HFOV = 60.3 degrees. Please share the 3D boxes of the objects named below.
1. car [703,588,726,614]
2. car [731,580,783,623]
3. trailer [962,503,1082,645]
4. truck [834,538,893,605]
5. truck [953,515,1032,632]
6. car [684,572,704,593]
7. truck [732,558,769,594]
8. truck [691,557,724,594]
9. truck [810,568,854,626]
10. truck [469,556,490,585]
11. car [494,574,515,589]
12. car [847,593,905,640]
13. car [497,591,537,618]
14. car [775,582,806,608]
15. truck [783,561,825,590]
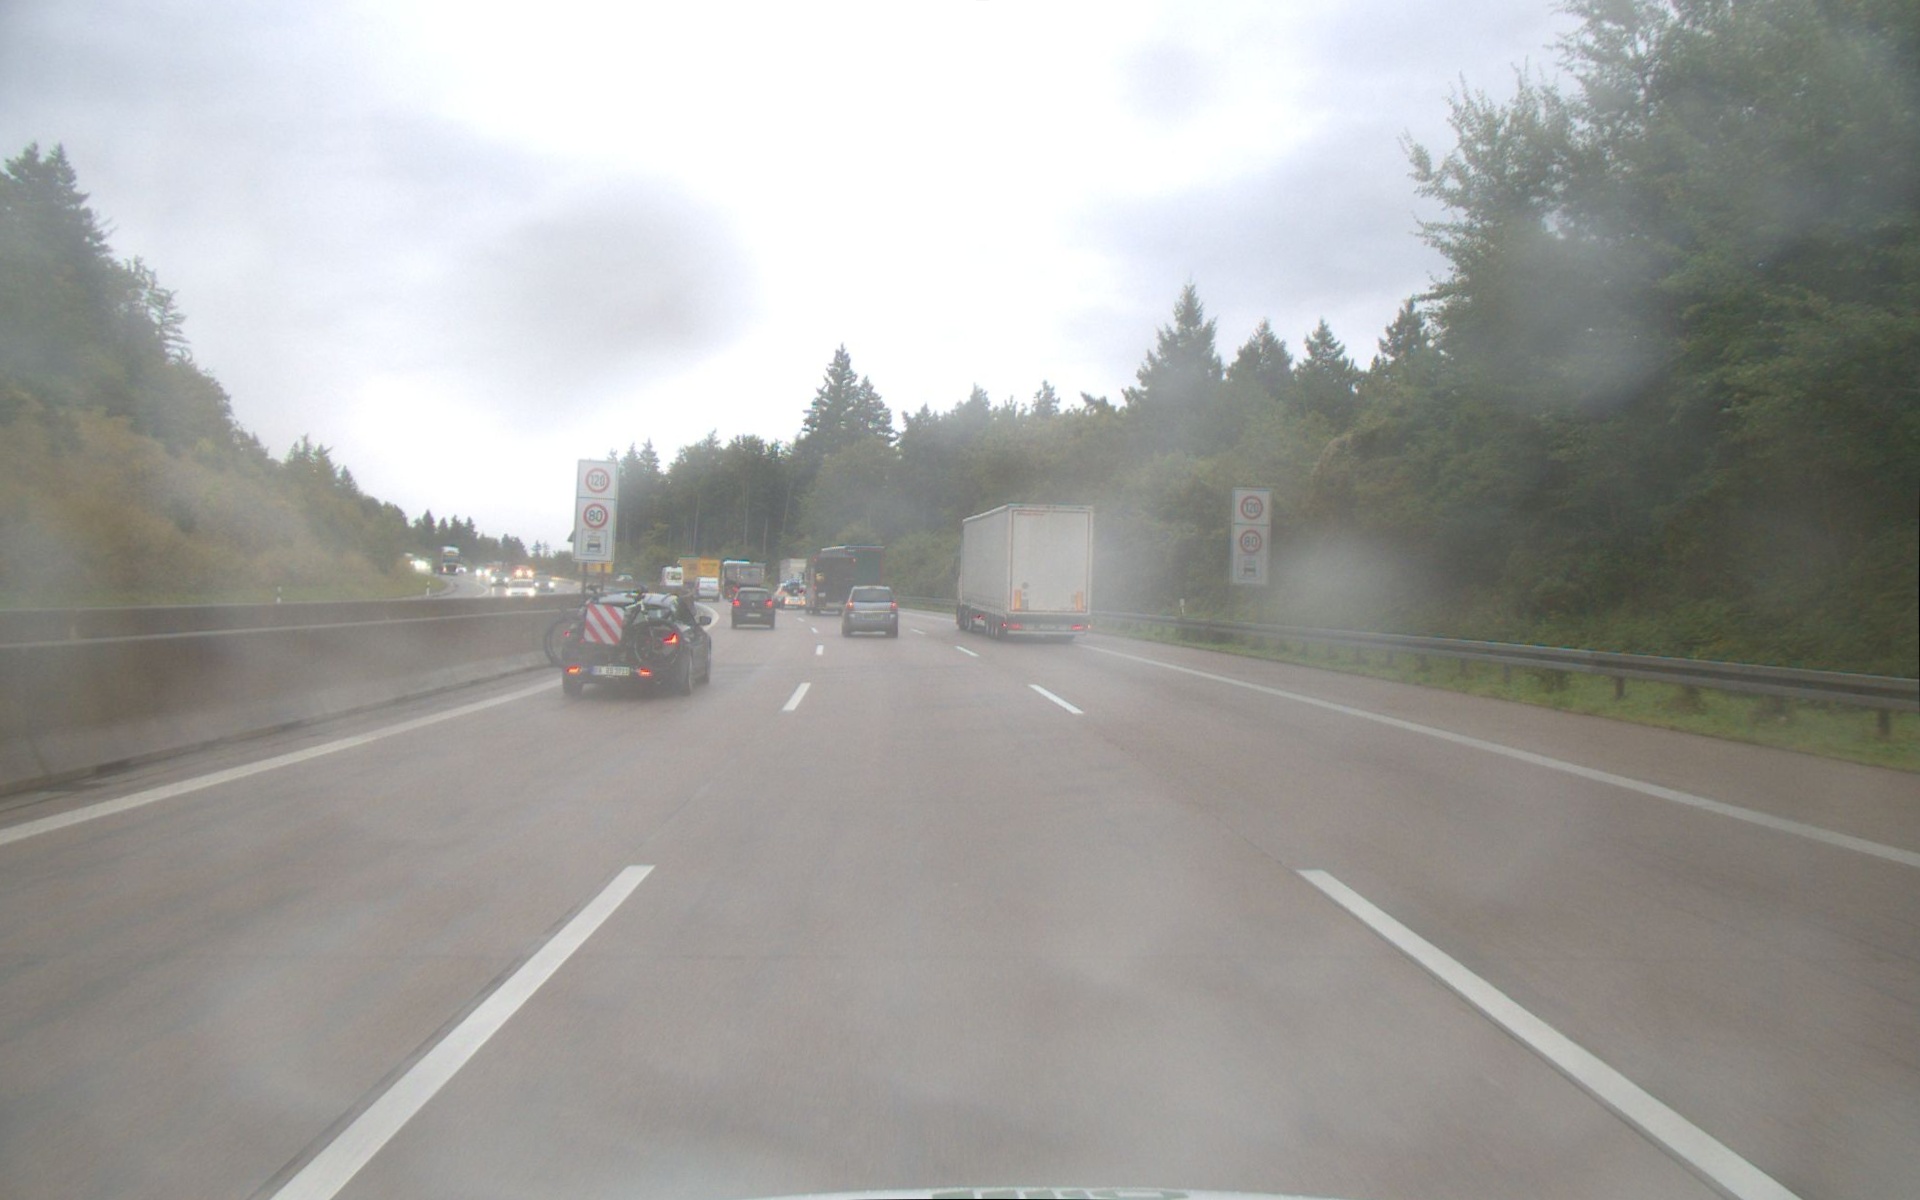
[{"bbox_3d":[-19.255,0.083,129.844,1.693,2.049,3.651,0,0,-7],"label":"car"},{"bbox_3d":[-7.433,0.032,60.936,1.651,1.487,3.681,2,1,-4],"label":"car"},{"bbox_3d":[1.836,-0.829,54.538,2.373,4.139,12.041,1,1,-5],"label":"trailer"},{"bbox_3d":[-6.588,-1.881,111.053,3.305,4.203,10.422,1,1,-7],"label":"truck"},{"bbox_3d":[1.164,-0.968,61.630,2.373,4.139,4.973,1,0,-5],"label":"truck"},{"bbox_3d":[-28.139,-1.827,174.996,1.958,2.095,3.989,0,0,-11],"label":"car"},{"bbox_3d":[-18.150,-2.114,143.065,3.025,2.956,7.889,1,1,-8],"label":"truck"},{"bbox_3d":[-30.563,-2.935,199.932,3.673,4.283,6.799,0,0,-11],"label":"truck"},{"bbox_3d":[-6.937,-0.243,90.108,2.224,2.937,7.898,1,1,-4],"label":"truck"},{"bbox_3d":[-72.341,-4.418,249.151,2.699,4.359,8.284,1,1,-14],"label":"truck"},{"bbox_3d":[-51.086,-2.041,185.474,1.744,1.667,4.245,0,0,-9],"label":"car"},{"bbox_3d":[-2.736,0.514,53.320,1.525,1.375,3.677,2,1,-8],"label":"car"},{"bbox_3d":[-26.720,0.262,99.931,1.743,1.544,3.995,0,0,-6],"label":"car"},{"bbox_3d":[-10.810,-0.338,105.684,1.845,1.498,3.996,2,1,-5],"label":"car"},{"bbox_3d":[-13.557,-2.148,143.492,2.922,2.349,6.649,2,0,-11],"label":"truck"}]
